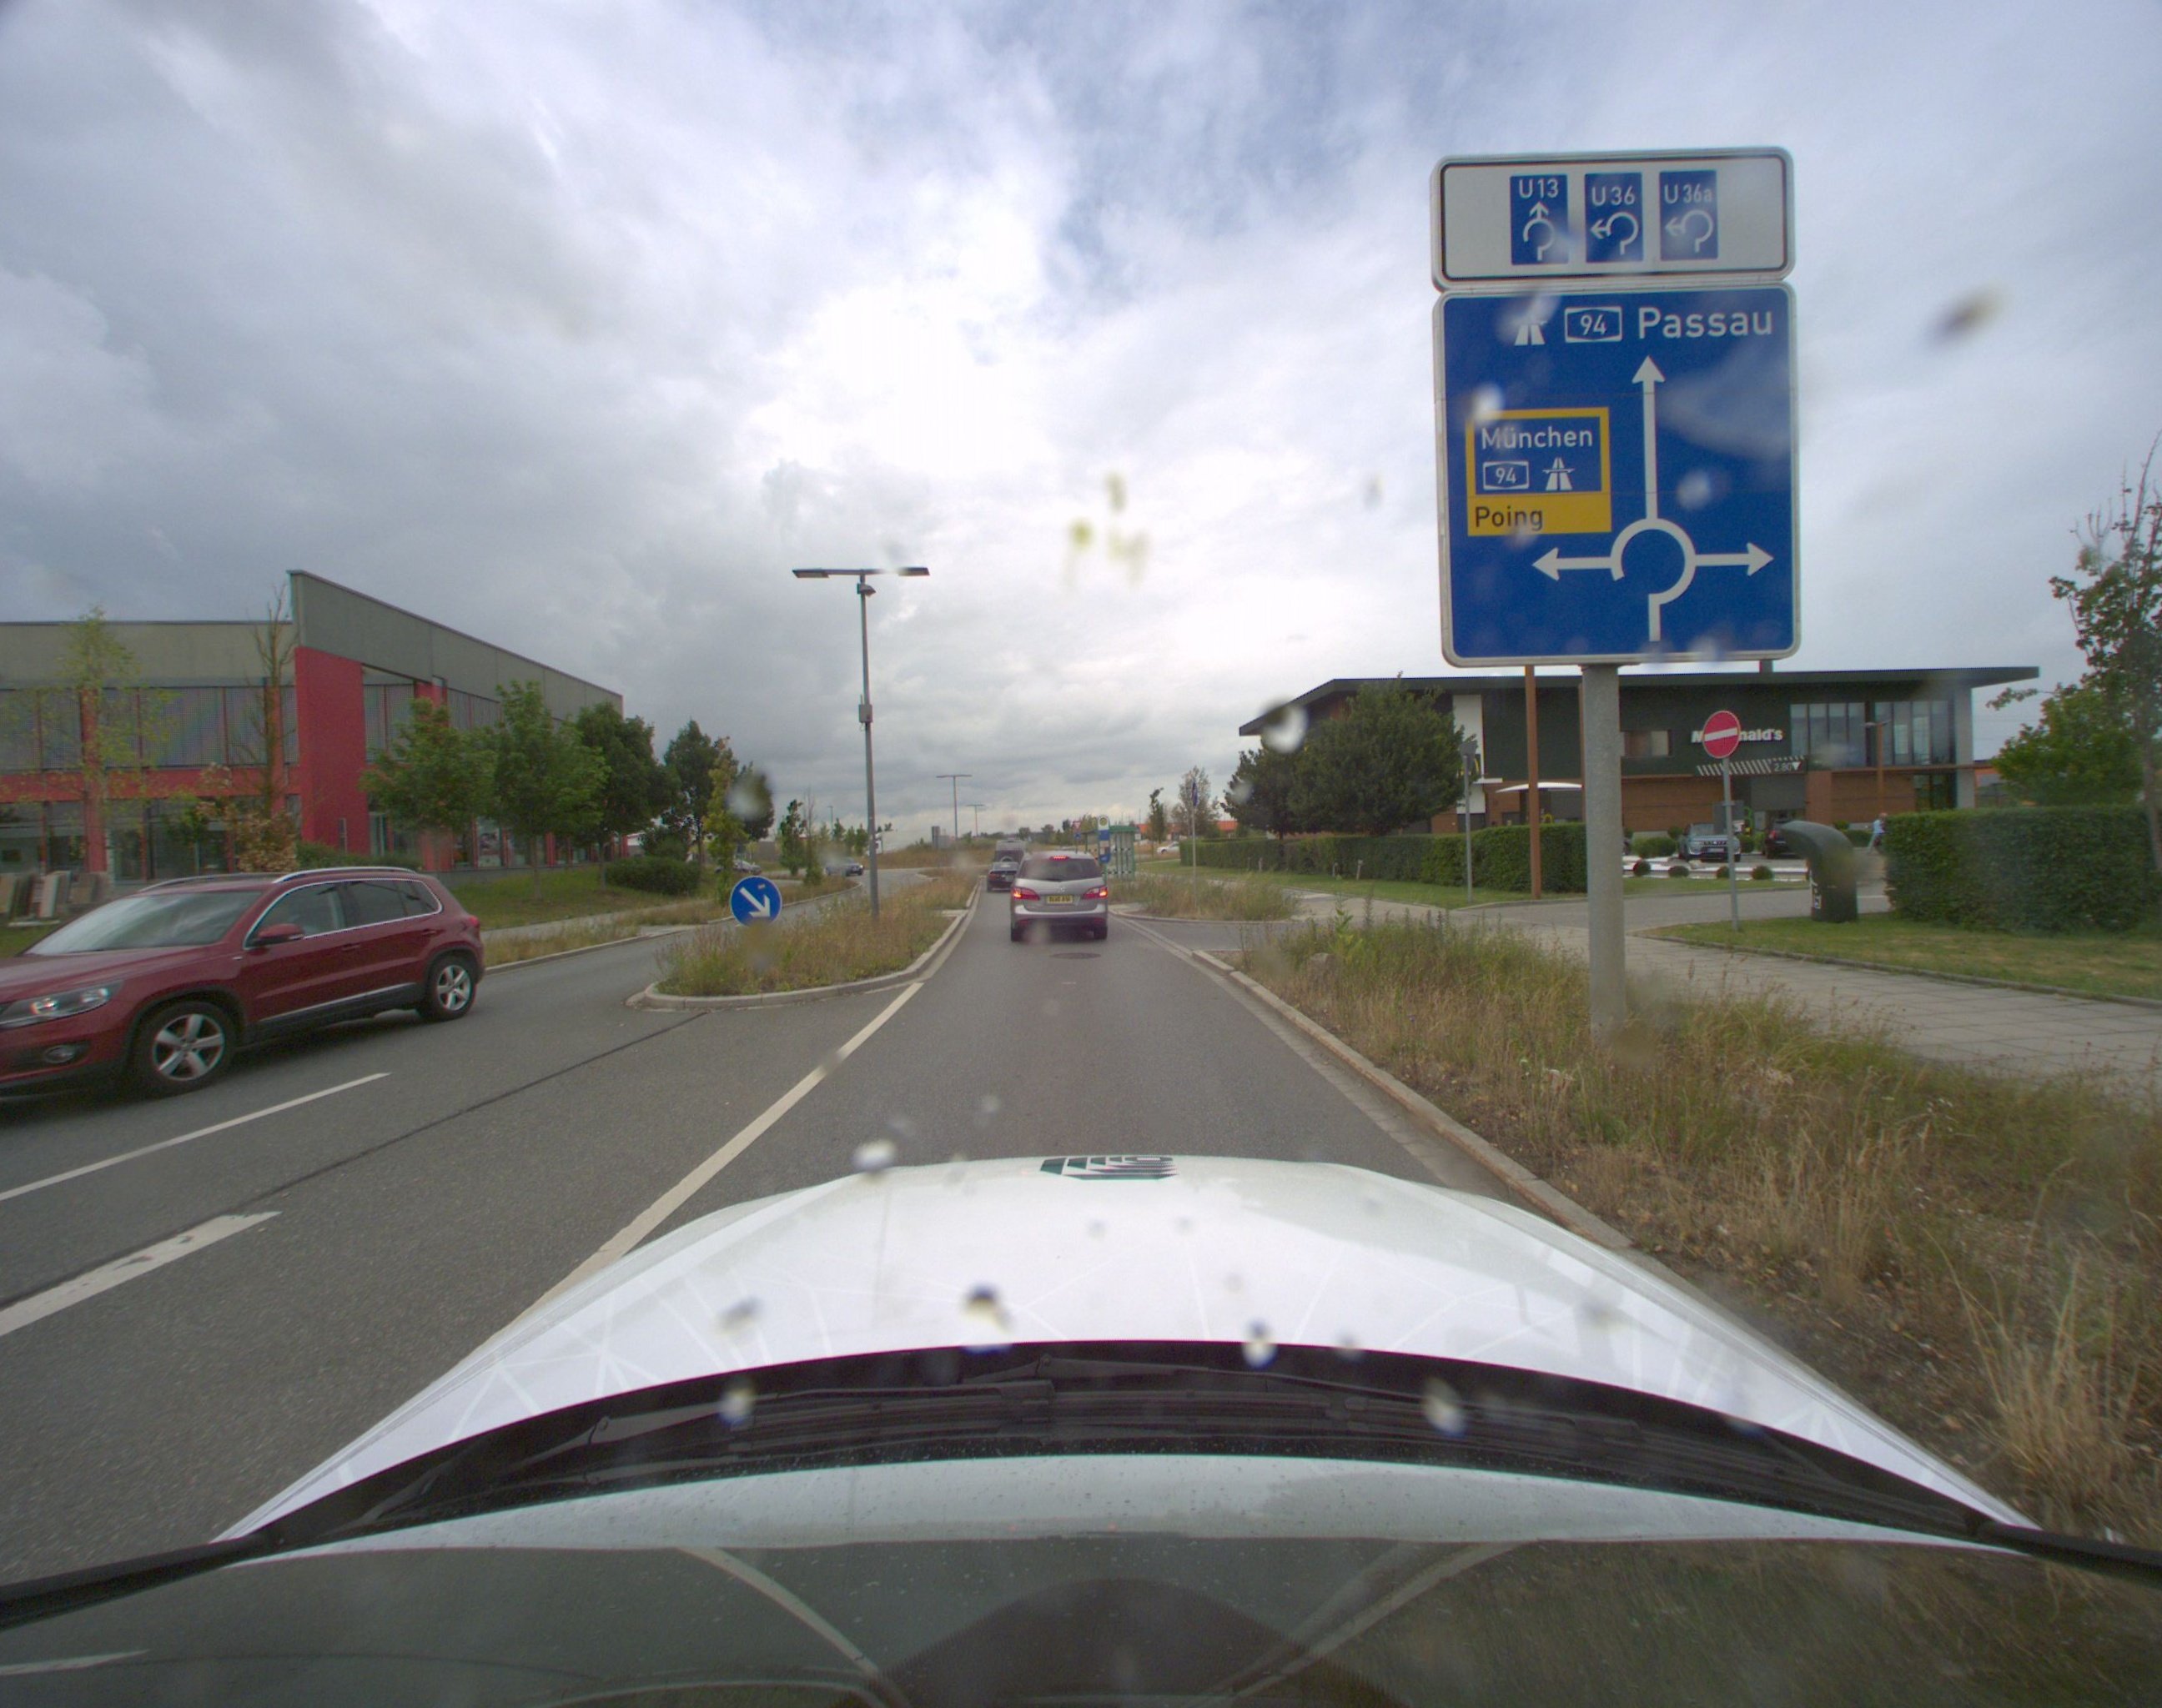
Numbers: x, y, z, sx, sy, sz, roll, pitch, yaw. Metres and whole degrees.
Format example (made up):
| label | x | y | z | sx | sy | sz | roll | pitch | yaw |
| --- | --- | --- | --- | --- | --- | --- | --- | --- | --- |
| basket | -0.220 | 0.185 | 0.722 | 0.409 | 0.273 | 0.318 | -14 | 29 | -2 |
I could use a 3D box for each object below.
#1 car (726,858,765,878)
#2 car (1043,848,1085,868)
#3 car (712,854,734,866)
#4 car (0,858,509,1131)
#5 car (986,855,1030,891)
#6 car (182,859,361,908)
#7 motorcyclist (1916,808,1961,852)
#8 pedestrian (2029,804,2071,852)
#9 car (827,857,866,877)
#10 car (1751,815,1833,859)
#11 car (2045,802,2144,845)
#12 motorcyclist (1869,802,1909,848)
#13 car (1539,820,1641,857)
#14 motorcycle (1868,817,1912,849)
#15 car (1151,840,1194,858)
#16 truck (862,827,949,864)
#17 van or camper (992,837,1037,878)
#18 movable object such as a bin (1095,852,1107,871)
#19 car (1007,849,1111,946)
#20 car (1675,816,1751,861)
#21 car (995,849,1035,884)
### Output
| label | x | y | z | sx | sy | sz | roll | pitch | yaw |
| --- | --- | --- | --- | --- | --- | --- | --- | --- | --- |
| car | -29.607 | 1.277 | 71.856 | 2.075 | 1.592 | 4.155 | -4 | 1 | -38 |
| car | -1.367 | 0.335 | 66.928 | 1.976 | 1.515 | 4.021 | -2 | 0 | 21 |
| car | -58.411 | 0.907 | 132.891 | 1.991 | 1.859 | 3.992 | -2 | 0 | -5 |
| car | -7.450 | 0.943 | 7.197 | 1.795 | 1.669 | 4.321 | -4 | 0 | -3 |
| car | -3.343 | 0.825 | 37.161 | 1.842 | 1.418 | 4.217 | -2 | 1 | -5 |
| car | -29.749 | 1.032 | 30.152 | 4.406 | 1.552 | 1.978 | -2 | 0 | -36 |
| motorcyclist | 27.050 | -0.747 | 25.699 | 0.772 | 1.334 | 0.902 | -2 | 0 | 35 |
| pedestrian | 29.986 | -0.803 | 25.204 | 0.627 | 1.439 | 0.762 | -2 | 0 | -37 |
| car | -18.474 | 1.030 | 64.042 | 1.854 | 1.407 | 3.959 | -4 | 0 | -32 |
| car | 29.874 | -0.710 | 34.362 | 2.095 | 1.717 | 4.258 | -1 | 0 | 34 |
| car | 43.532 | -1.291 | 34.973 | 4.011 | 1.722 | 1.981 | -2 | 0 | -29 |
| motorcyclist | 33.348 | -1.174 | 33.620 | 0.952 | 1.832 | 0.851 | -1 | 0 | 32 |
| car | 25.686 | -0.786 | 41.146 | 3.982 | 1.717 | 1.996 | -2 | 0 | -7 |
| motorcycle | 33.319 | -0.853 | 33.570 | 0.848 | 1.244 | 1.979 | -1 | 0 | 32 |
| car | 10.050 | -0.561 | 89.440 | 4.581 | 1.757 | 2.002 | -2 | 0 | 4 |
| truck | -20.180 | -1.000 | 93.771 | 9.342 | 3.906 | 3.120 | -2 | 0 | -22 |
| van or camper | -4.387 | 0.205 | 54.674 | 2.293 | 2.506 | 5.209 | -1 | 0 | 2 |
| movable object such as a bin | 0.882 | 0.330 | 35.791 | 0.455 | 0.798 | 0.379 | -2 | 0 | -7 |
| car | -0.532 | 0.716 | 15.627 | 1.727 | 1.600 | 3.800 | -1 | 0 | -5 |
| car | 25.982 | -0.618 | 33.623 | 1.974 | 1.717 | 4.025 | -1 | 0 | 31 |
| car | -3.676 | 0.654 | 45.978 | 2.054 | 1.826 | 4.779 | -2 | 0 | -4 |
